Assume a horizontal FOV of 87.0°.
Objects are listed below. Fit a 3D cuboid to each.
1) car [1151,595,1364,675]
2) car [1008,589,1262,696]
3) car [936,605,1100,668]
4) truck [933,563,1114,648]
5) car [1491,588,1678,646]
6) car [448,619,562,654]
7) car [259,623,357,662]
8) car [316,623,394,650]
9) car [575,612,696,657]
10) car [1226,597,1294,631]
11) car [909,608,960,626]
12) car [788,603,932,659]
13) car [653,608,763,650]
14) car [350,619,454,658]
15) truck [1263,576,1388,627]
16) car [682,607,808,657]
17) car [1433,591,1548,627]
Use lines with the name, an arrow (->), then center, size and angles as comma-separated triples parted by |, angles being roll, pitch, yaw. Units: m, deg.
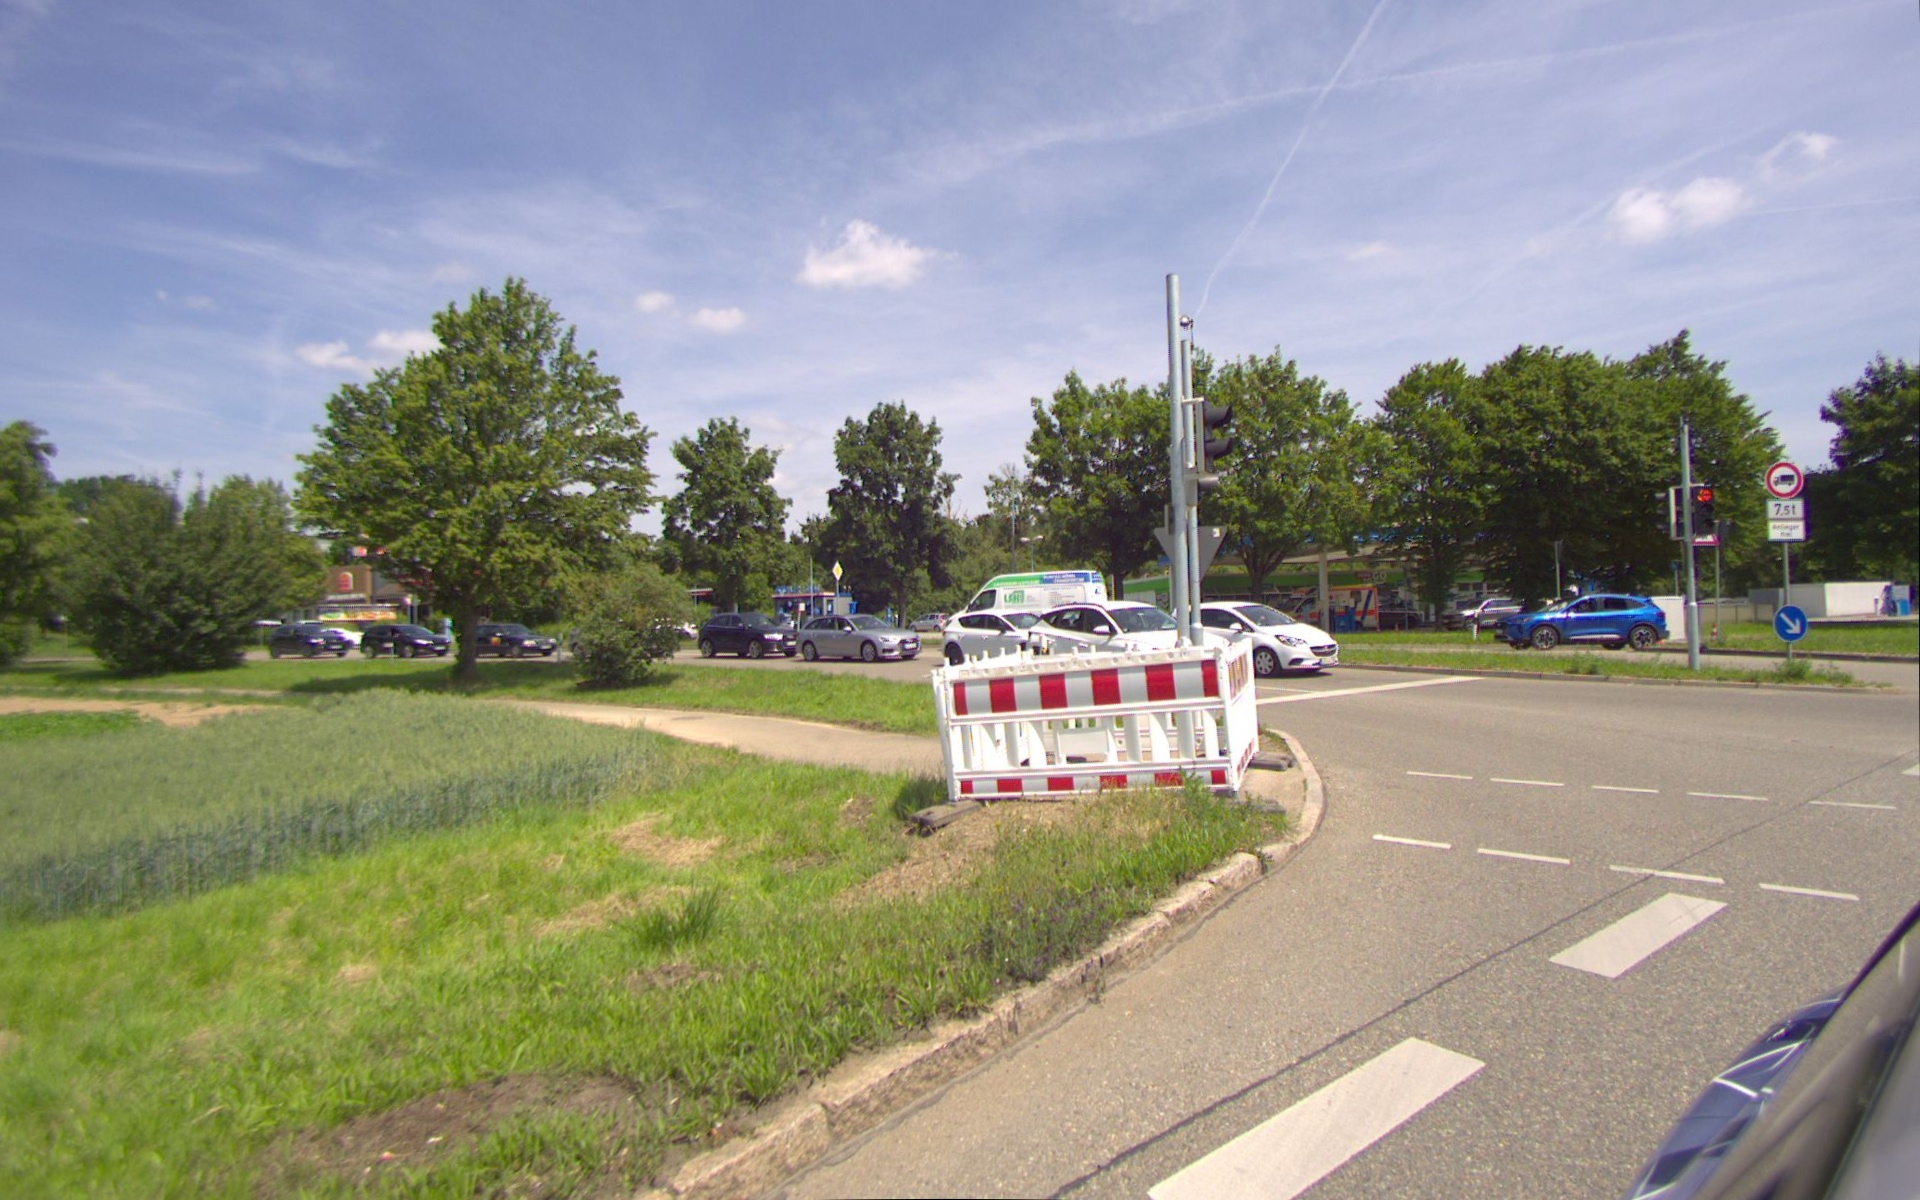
car -> 6.048, 0.665, 20.970 | 1.794, 1.437, 3.971 | -2, 1, -35
car -> 2.967, 0.679, 18.281 | 1.959, 1.627, 4.645 | -2, 0, -30
car -> 1.433, 0.884, 26.051 | 1.772, 1.436, 4.094 | -2, 1, -44
truck -> 2.187, 0.186, 35.101 | 5.875, 2.770, 2.058 | -1, 2, 23
car -> 18.440, 0.493, 30.074 | 4.313, 1.578, 1.780 | -1, -1, 8
car -> -18.817, 1.525, 41.841 | 4.513, 1.289, 1.786 | -2, 0, 25
car -> -31.301, 2.029, 48.600 | 4.246, 1.719, 1.983 | -2, 0, 25
car -> -40.815, 2.450, 68.337 | 4.414, 1.579, 1.878 | -2, 0, -32
car -> -12.269, 1.308, 38.206 | 4.523, 1.529, 1.782 | -2, 0, 31
car -> 19.158, 0.868, 64.714 | 3.783, 2.039, 1.715 | -1, 0, -9
car -> -2.089, 1.388, 81.556 | 3.815, 1.397, 1.706 | -1, 0, 35
car -> -3.137, 0.955, 31.157 | 4.543, 1.529, 1.774 | -2, 0, 42
car -> -11.071, 1.264, 44.426 | 4.478, 1.713, 1.851 | -1, 1, 25
car -> -24.607, 1.702, 44.638 | 4.183, 1.529, 1.788 | -2, 0, 23
truck -> 20.214, 0.079, 56.132 | 6.027, 2.651, 2.264 | -1, -1, -4
car -> -7.604, 1.135, 35.531 | 4.535, 1.529, 1.777 | -3, -1, 38
car -> 27.426, 0.444, 52.408 | 4.843, 1.623, 2.041 | -2, 1, -3
